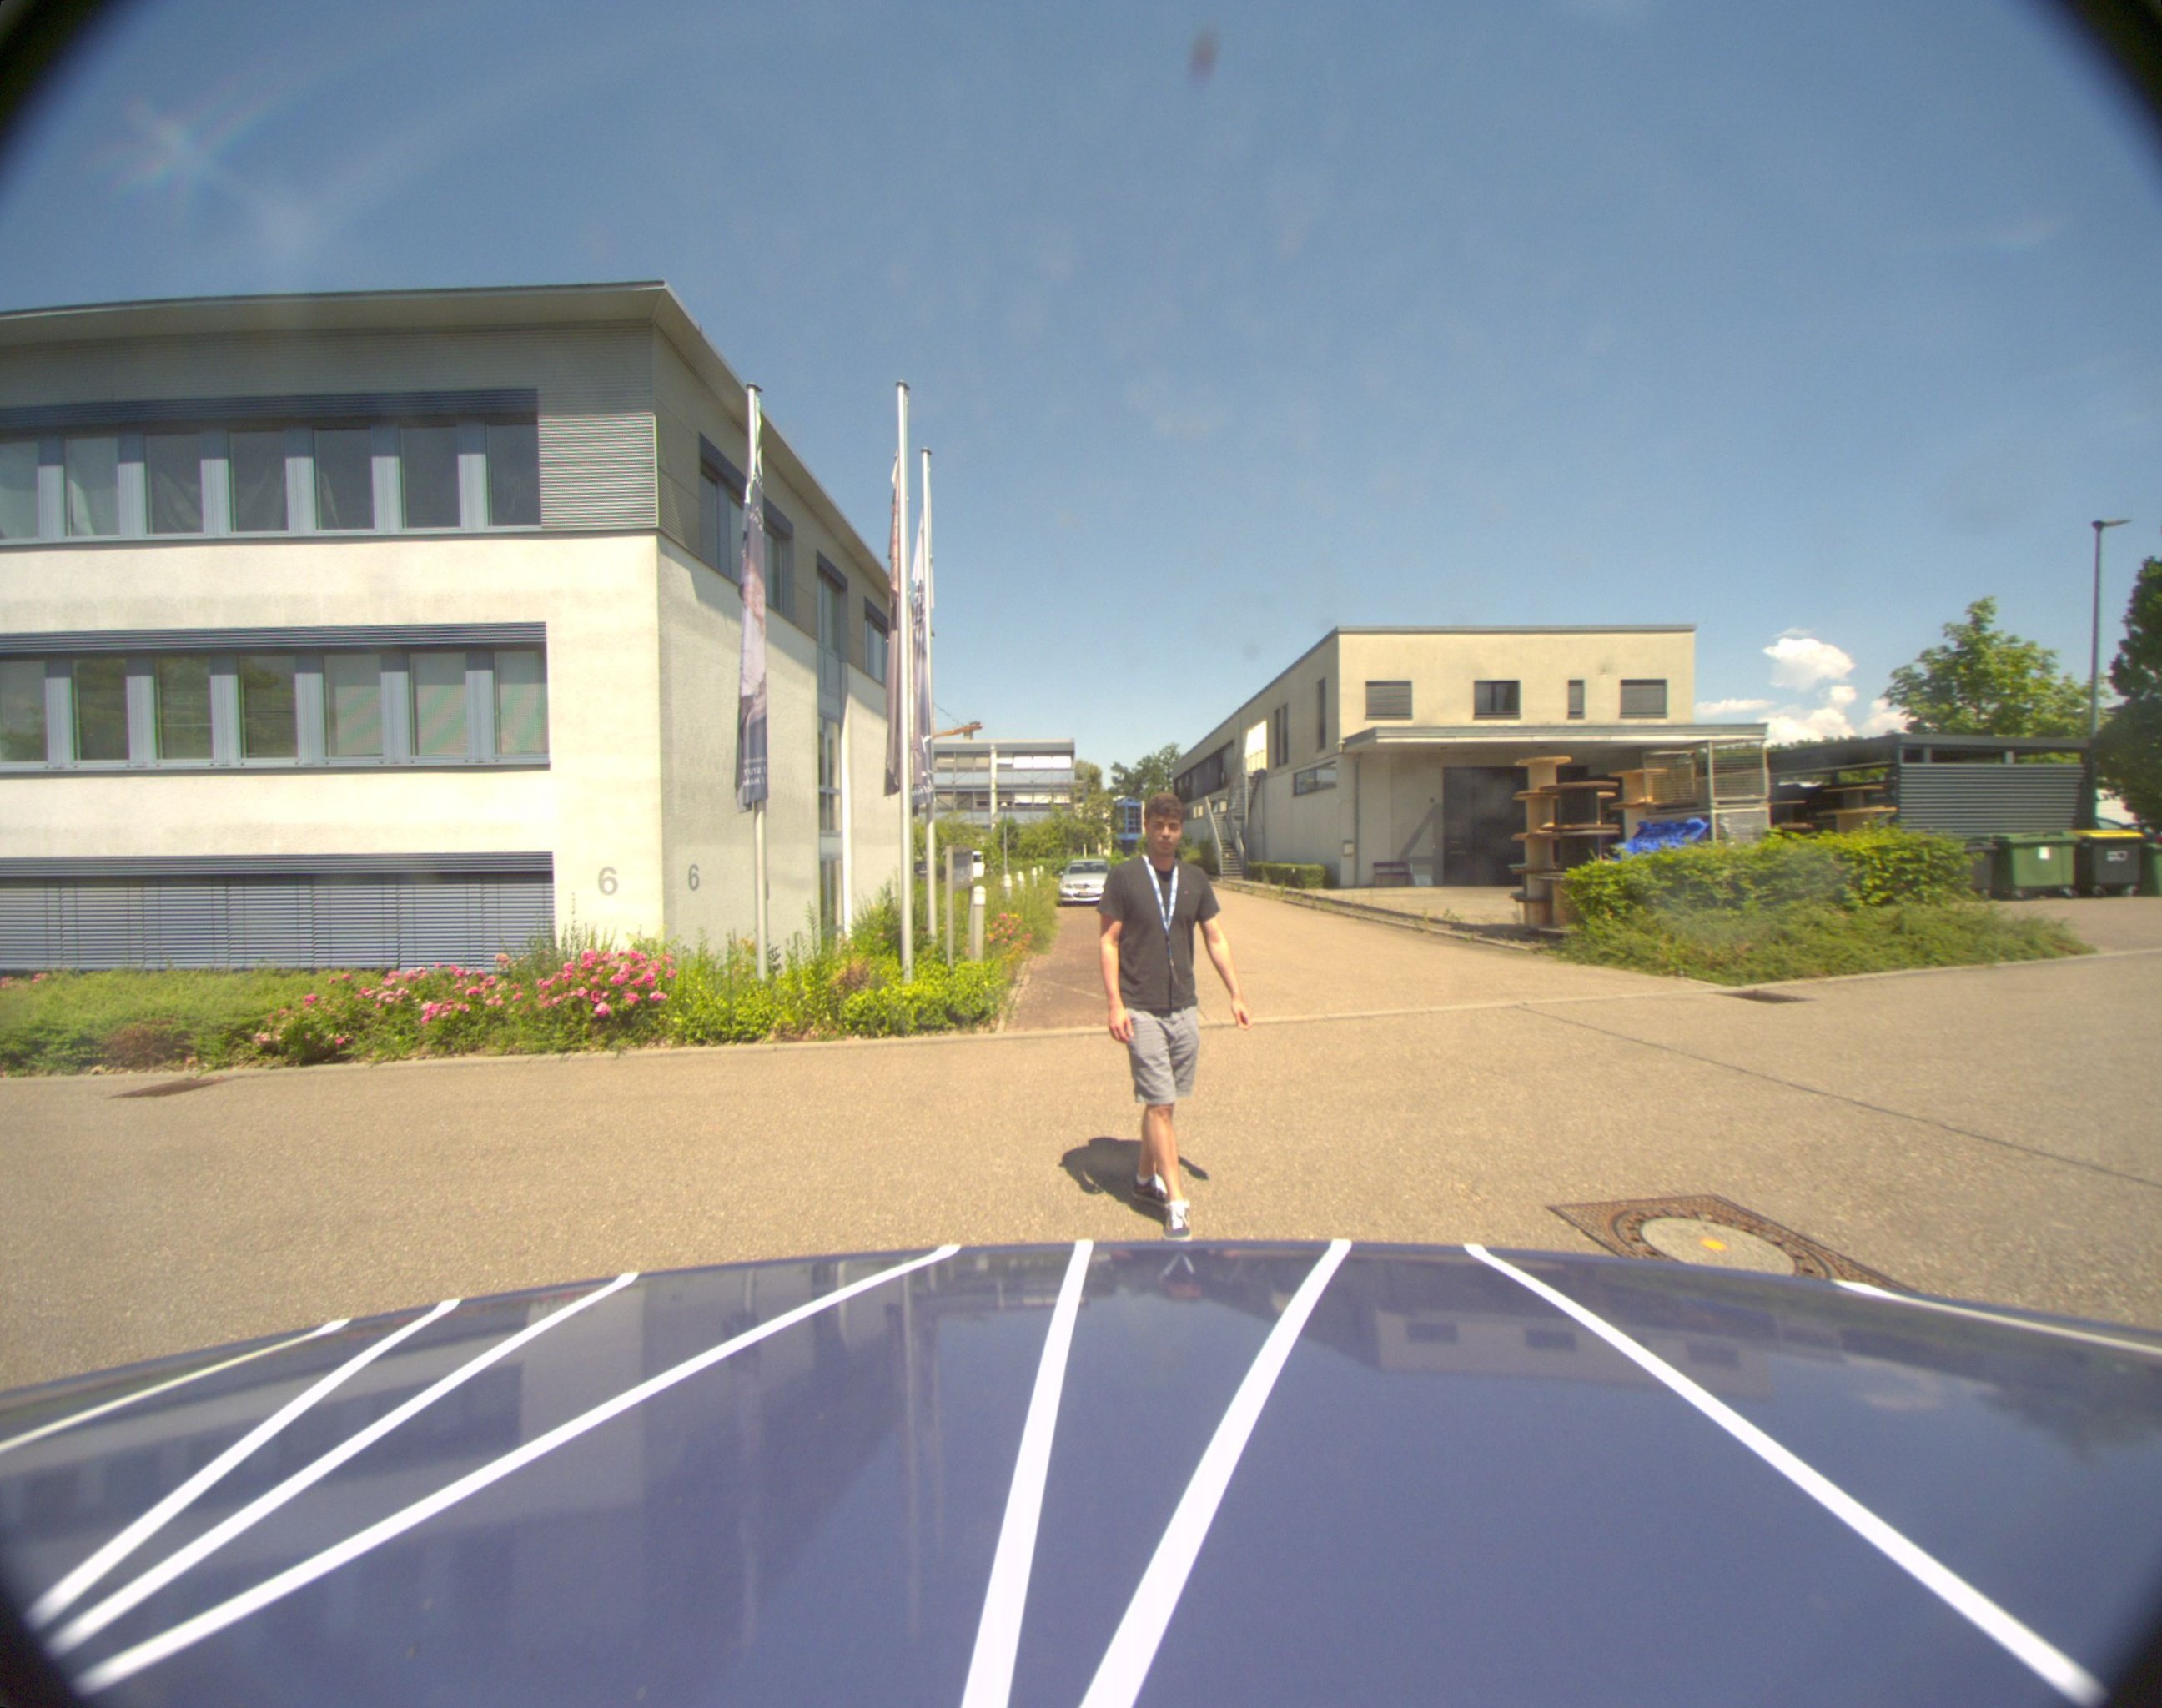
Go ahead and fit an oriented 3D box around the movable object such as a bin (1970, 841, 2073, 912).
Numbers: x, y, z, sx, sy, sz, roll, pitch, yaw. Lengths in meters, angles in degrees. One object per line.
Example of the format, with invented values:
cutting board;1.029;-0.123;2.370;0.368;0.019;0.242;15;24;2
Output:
movable object such as a bin;18.725;0.435;15.154;1.072;1.329;0.760;-2;1;4

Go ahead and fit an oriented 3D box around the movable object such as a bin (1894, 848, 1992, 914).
movable object such as a bin;17.394;0.532;15.358;1.072;1.264;0.760;-2;1;4

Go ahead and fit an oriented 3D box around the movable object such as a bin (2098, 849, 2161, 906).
movable object such as a bin;21.181;0.454;15.057;0.987;1.078;0.760;-2;1;4

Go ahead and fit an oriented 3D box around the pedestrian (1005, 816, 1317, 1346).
pedestrian;0.317;0.771;3.200;0.862;1.809;0.902;-3;1;-36

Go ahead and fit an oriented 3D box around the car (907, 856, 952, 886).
car;-8.902;0.957;44.846;1.787;1.537;3.999;-2;1;0

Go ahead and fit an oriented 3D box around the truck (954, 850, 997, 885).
truck;-6.061;0.739;44.193;1.999;1.882;3.999;-2;1;-2

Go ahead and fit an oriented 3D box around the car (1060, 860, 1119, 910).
car;0.347;0.934;24.602;1.711;1.383;3.811;-1;1;3

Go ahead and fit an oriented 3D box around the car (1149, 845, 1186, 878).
car;5.075;0.381;45.169;1.787;1.793;4.000;-2;1;1

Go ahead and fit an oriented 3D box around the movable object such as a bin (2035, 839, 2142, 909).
movable object such as a bin;20.077;0.393;15.166;1.072;1.329;0.760;-2;1;4

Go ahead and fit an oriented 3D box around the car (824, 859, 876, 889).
car;-13.572;1.131;44.869;1.787;1.537;3.999;-2;1;0
